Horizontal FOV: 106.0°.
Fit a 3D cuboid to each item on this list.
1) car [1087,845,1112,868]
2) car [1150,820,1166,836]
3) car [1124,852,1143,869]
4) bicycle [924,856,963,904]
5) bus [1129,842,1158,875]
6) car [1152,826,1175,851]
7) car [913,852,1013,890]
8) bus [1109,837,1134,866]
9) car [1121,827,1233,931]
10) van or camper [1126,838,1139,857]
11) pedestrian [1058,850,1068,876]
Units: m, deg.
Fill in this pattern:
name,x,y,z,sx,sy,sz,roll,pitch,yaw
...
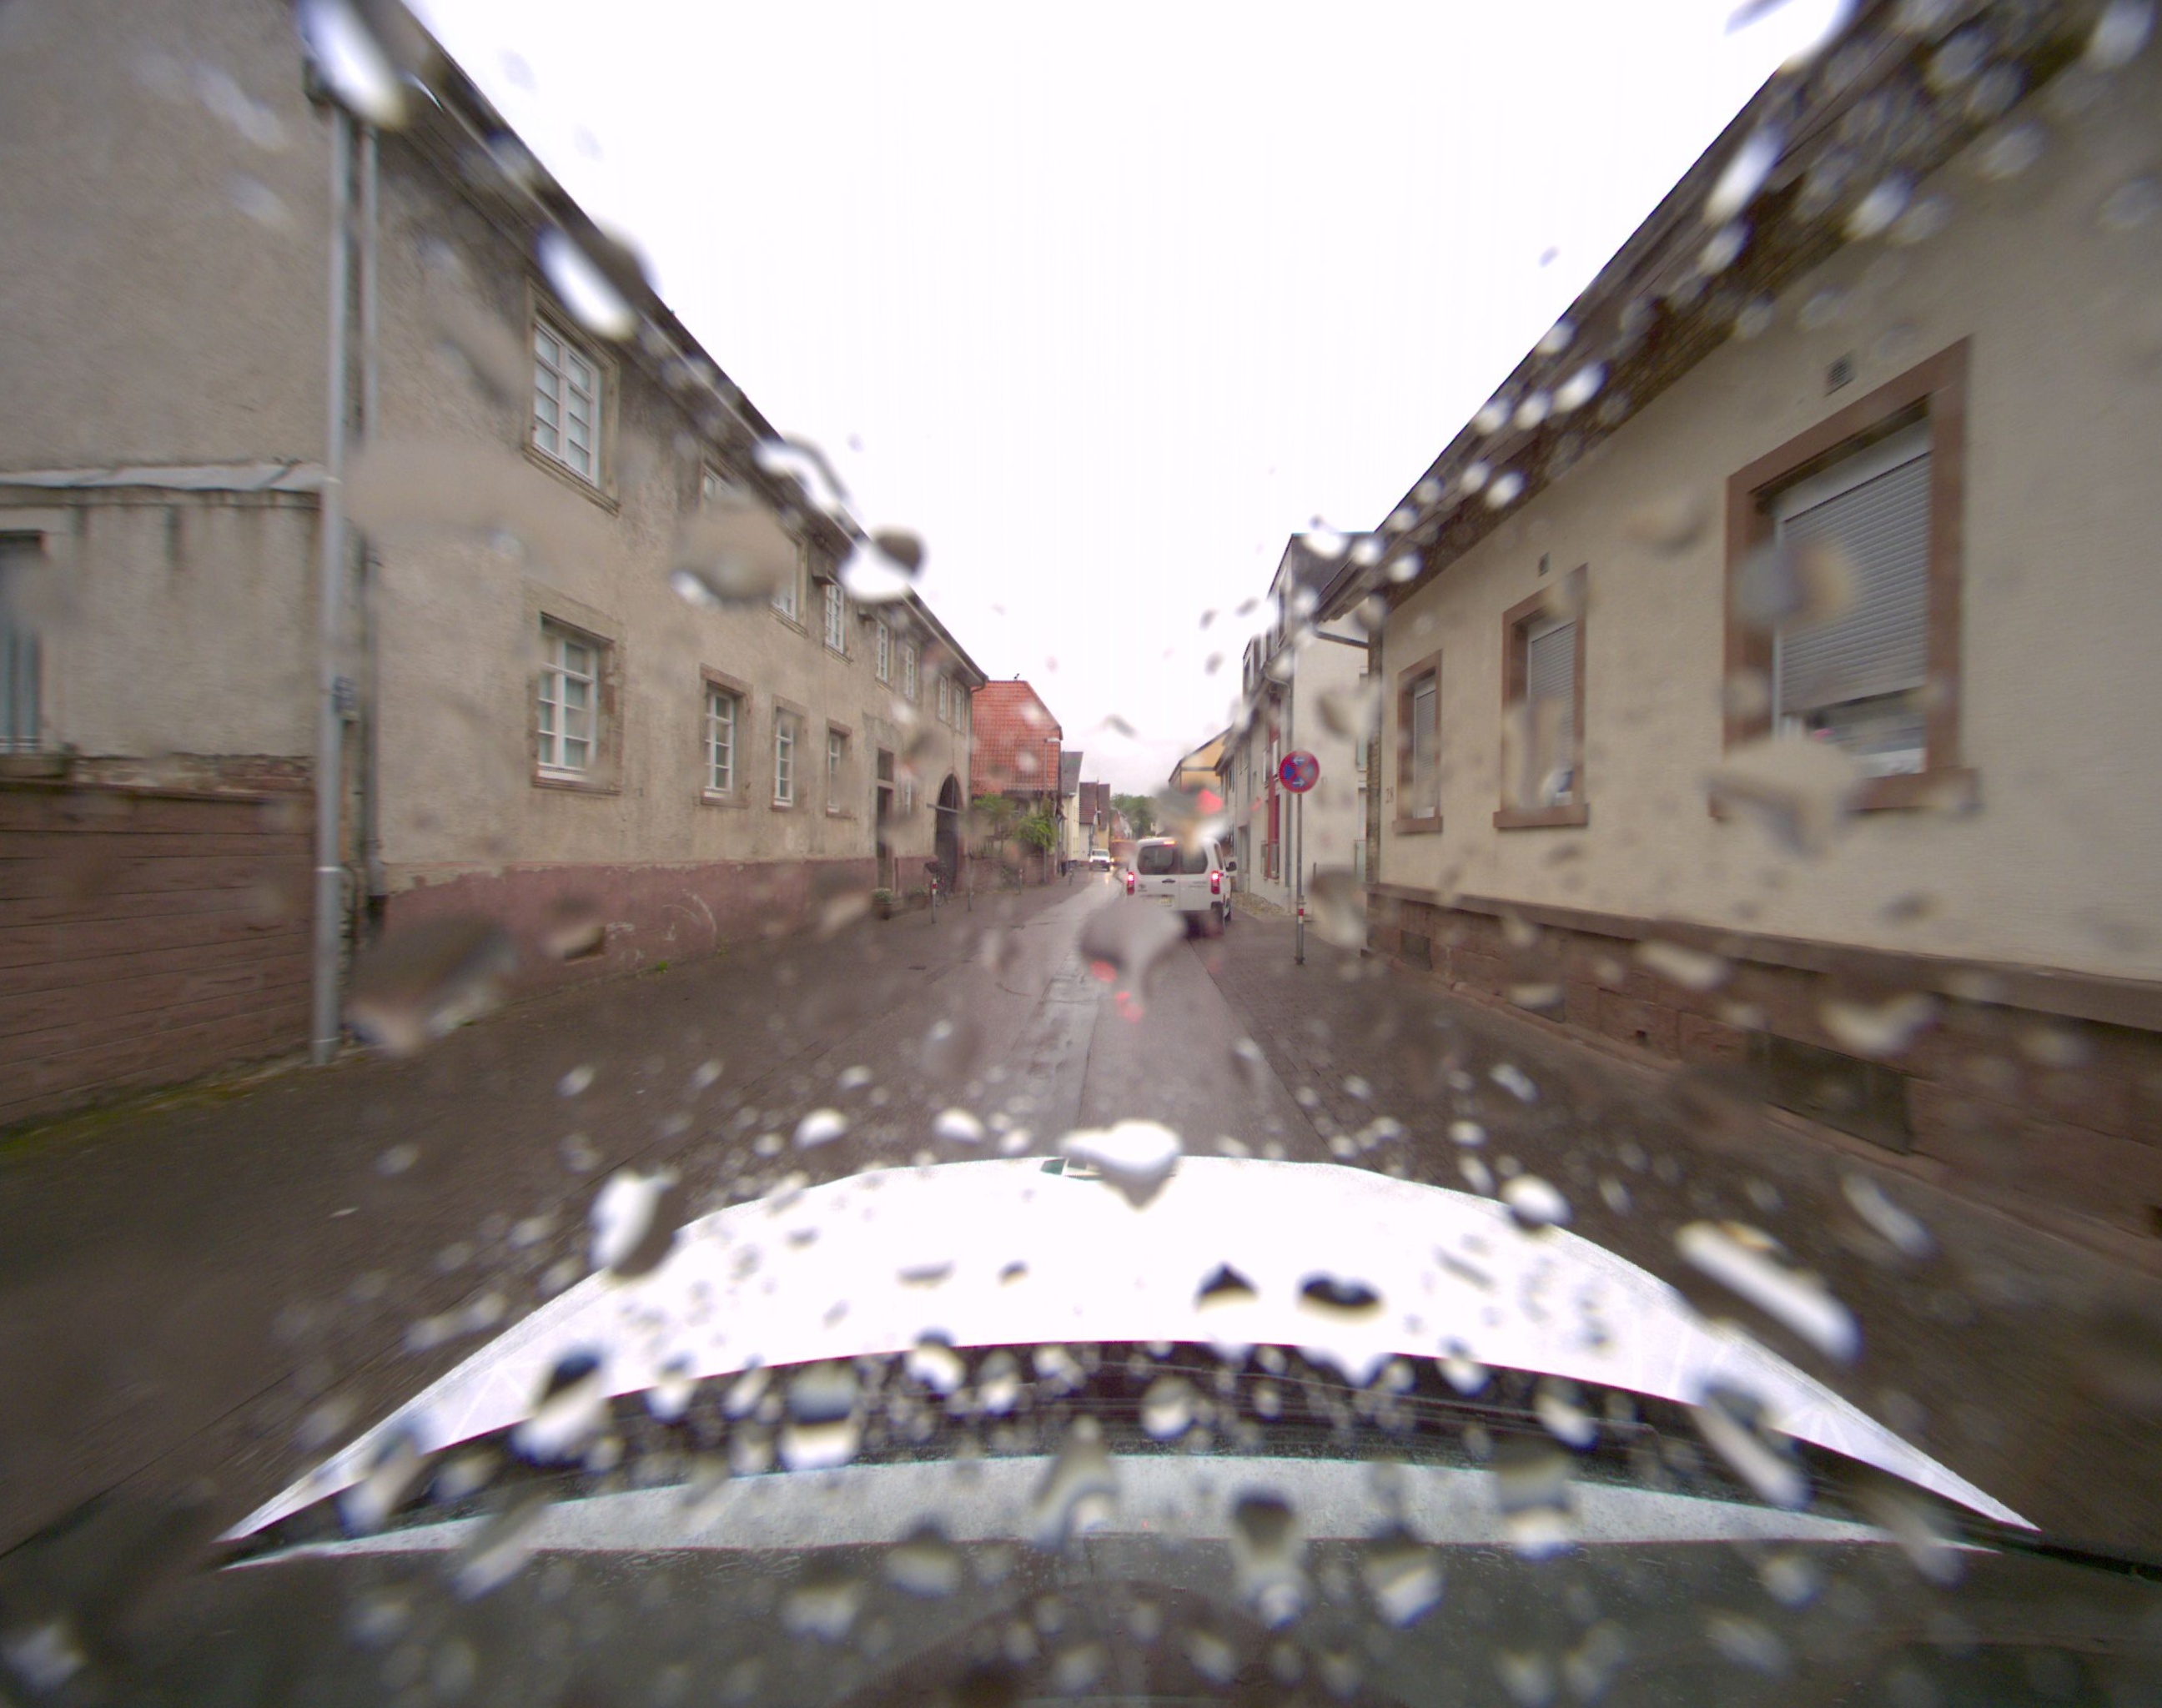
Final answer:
name,x,y,z,sx,sy,sz,roll,pitch,yaw
car,1.706,0.265,74.309,1.883,1.967,4.730,2,-1,6
car,10.424,-3.522,110.418,1.984,2.014,4.005,2,-1,5
car,4.624,0.592,71.259,1.554,1.371,3.589,2,-1,5
bicycle,-3.564,0.663,21.191,0.480,1.180,1.838,2,-1,6
bus,6.515,0.474,85.264,2.781,3.180,8.186,3,-1,4
car,7.191,-1.342,71.302,1.819,2.014,3.697,2,-1,4
car,-4.547,0.631,31.650,3.510,1.376,1.597,1,0,6
bus,5.149,-0.284,101.743,2.781,3.329,8.186,3,-1,4
car,2.061,0.463,16.399,1.782,1.819,4.116,-1,-1,13
van or camper,8.613,-1.013,135.190,1.826,2.925,5.371,2,-1,5
pedestrian,-1.050,0.509,47.951,0.566,1.530,0.568,0,-1,-6
